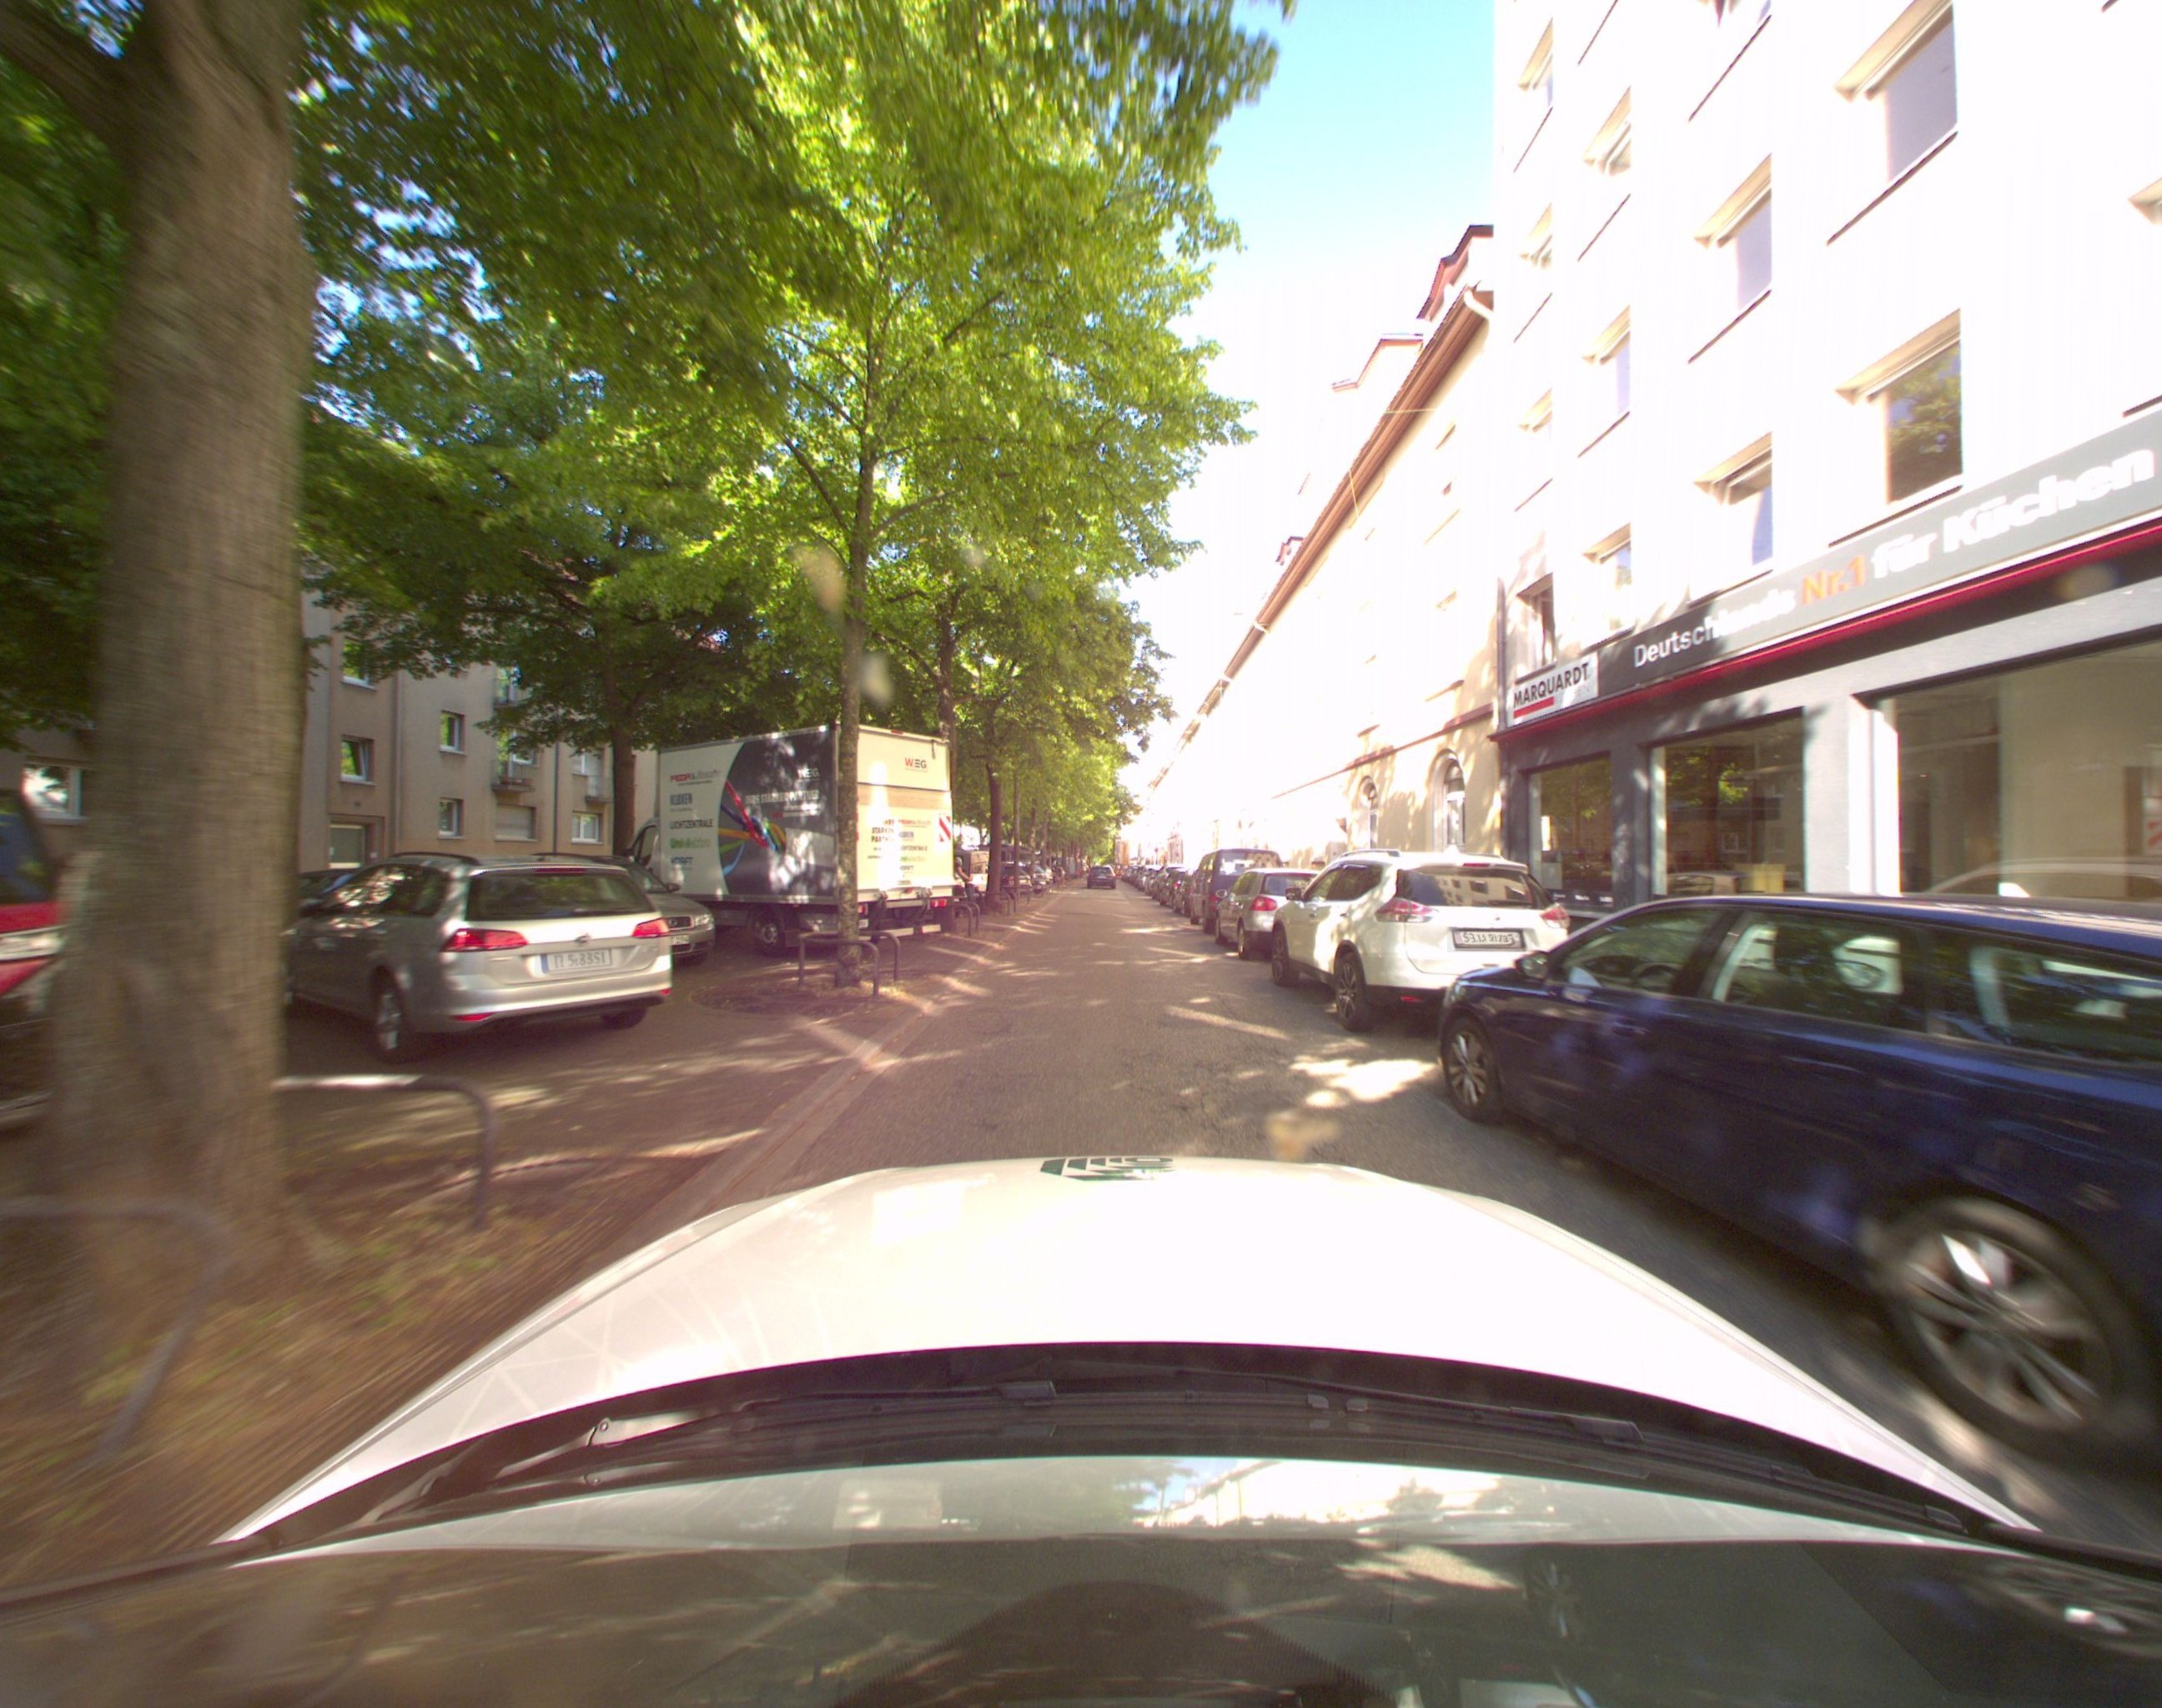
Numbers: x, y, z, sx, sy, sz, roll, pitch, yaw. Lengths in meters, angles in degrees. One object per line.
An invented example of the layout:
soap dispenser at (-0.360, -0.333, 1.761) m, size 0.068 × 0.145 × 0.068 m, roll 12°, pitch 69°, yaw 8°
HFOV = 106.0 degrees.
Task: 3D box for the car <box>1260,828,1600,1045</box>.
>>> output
car at (3.342, 0.697, 8.882) m, size 1.756 × 1.753 × 4.508 m, roll 1°, pitch -1°, yaw 0°

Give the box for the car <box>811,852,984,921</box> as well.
car at (-4.519, 0.738, 19.891) m, size 4.055 × 1.506 × 1.744 m, roll 0°, pitch -1°, yaw 32°

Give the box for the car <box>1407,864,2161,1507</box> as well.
car at (3.283, 0.784, 3.518) m, size 1.798 × 1.463 × 4.435 m, roll 1°, pitch -1°, yaw -3°

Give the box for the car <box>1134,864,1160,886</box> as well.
car at (4.762, 1.498, 59.232) m, size 1.625 × 1.534 × 3.591 m, roll 1°, pitch -1°, yaw 0°

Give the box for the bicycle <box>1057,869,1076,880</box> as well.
bicycle at (-1.367, 1.866, 75.890) m, size 1.729 × 1.006 × 0.507 m, roll 1°, pitch -1°, yaw -29°

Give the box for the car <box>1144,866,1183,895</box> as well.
car at (4.283, 1.374, 42.895) m, size 1.716 × 1.432 × 4.158 m, roll 1°, pitch -1°, yaw 1°

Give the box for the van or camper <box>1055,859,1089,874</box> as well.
van or camper at (-1.534, 2.127, 138.621) m, size 5.281 × 2.475 × 2.308 m, roll 0°, pitch -1°, yaw 33°

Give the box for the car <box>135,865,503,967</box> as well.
car at (-11.552, 0.845, 12.885) m, size 1.759 × 1.294 × 4.410 m, roll -1°, pitch -1°, yaw -2°

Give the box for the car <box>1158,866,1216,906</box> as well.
car at (3.906, 1.141, 30.559) m, size 1.545 × 1.394 × 3.857 m, roll 1°, pitch -1°, yaw -2°

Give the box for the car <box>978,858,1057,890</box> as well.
car at (-3.551, 1.084, 45.290) m, size 4.094 × 1.679 × 1.770 m, roll 0°, pitch -1°, yaw 30°

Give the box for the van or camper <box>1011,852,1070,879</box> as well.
van or camper at (-4.213, 1.169, 83.870) m, size 5.811 × 2.637 × 2.269 m, roll 0°, pitch -1°, yaw 30°

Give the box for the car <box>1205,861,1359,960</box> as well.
car at (3.387, 0.890, 14.546) m, size 1.756 × 1.500 × 4.238 m, roll 1°, pitch -1°, yaw 1°

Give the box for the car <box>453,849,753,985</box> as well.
car at (-6.519, 0.704, 10.962) m, size 4.287 × 1.507 × 1.825 m, roll 0°, pitch -1°, yaw 35°

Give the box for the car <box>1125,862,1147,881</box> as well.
car at (5.022, 1.589, 74.499) m, size 1.810 × 1.674 × 4.674 m, roll 0°, pitch -1°, yaw 1°

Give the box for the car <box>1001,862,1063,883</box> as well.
car at (-3.637, 1.338, 60.055) m, size 4.275 × 1.424 × 1.685 m, roll 0°, pitch -1°, yaw 28°

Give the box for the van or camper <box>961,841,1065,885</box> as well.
van or camper at (-4.845, 0.648, 57.455) m, size 7.158 × 2.930 × 2.328 m, roll 0°, pitch -1°, yaw 28°

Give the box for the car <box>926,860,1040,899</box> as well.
car at (-4.016, 0.989, 33.044) m, size 4.432 × 1.455 × 1.799 m, roll 0°, pitch -1°, yaw 33°

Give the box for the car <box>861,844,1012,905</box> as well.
car at (-4.749, 0.633, 26.714) m, size 4.467 × 1.865 × 2.093 m, roll 1°, pitch -1°, yaw 26°

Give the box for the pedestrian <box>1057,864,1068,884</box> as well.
pedestrian at (-1.357, 1.434, 59.208) m, size 0.609 × 1.456 × 0.522 m, roll 0°, pitch -1°, yaw 24°

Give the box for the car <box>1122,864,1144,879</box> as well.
car at (5.290, 1.773, 83.675) m, size 1.987 × 1.409 × 4.500 m, roll 1°, pitch -1°, yaw 0°

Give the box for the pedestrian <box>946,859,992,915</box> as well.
pedestrian at (-2.891, 0.842, 21.146) m, size 0.743 × 1.397 × 0.934 m, roll 0°, pitch -1°, yaw 33°

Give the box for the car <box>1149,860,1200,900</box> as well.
car at (4.167, 1.119, 36.781) m, size 1.717 × 1.686 × 4.155 m, roll 1°, pitch -1°, yaw -1°

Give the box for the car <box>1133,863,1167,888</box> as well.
car at (4.528, 1.410, 53.993) m, size 1.718 × 1.597 × 4.154 m, roll 1°, pitch -1°, yaw -2°

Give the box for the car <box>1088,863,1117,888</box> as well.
car at (1.327, 1.324, 51.615) m, size 1.791 × 1.504 × 3.585 m, roll 0°, pitch -1°, yaw 0°

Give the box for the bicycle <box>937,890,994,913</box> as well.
bicycle at (-3.070, 1.256, 21.591) m, size 1.593 × 0.558 × 0.412 m, roll 0°, pitch -1°, yaw 32°

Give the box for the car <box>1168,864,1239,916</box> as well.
car at (3.759, 1.061, 25.526) m, size 1.617 × 1.498 × 3.593 m, roll 1°, pitch -1°, yaw -1°

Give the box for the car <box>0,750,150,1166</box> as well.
car at (-7.008, 0.455, 4.488) m, size 4.445 × 1.873 × 1.948 m, roll 0°, pitch -1°, yaw 35°

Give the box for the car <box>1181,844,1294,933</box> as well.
car at (3.652, 0.769, 19.874) m, size 1.941 × 1.901 × 4.847 m, roll 0°, pitch -1°, yaw 2°

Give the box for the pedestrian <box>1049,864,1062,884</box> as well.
pedestrian at (-1.820, 1.441, 58.679) m, size 0.703 × 1.456 × 0.599 m, roll 0°, pitch -1°, yaw 24°

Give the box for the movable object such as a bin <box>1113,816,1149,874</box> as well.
movable object such as a bin at (6.013, -1.069, 97.696) m, size 3.445 × 6.760 × 2.383 m, roll 0°, pitch -2°, yaw 33°

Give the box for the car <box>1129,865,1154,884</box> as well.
car at (4.746, 1.609, 63.928) m, size 1.625 × 1.413 × 4.087 m, roll 1°, pitch -1°, yaw 0°

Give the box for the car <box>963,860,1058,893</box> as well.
car at (-3.376, 1.043, 38.775) m, size 4.367 × 1.462 × 1.727 m, roll 0°, pitch -2°, yaw 33°

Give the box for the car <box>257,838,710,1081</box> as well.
car at (-5.283, 0.663, 7.023) m, size 4.287 × 1.507 × 1.825 m, roll 0°, pitch -1°, yaw 35°

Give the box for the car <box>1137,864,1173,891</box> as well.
car at (4.346, 1.365, 48.553) m, size 1.717 × 1.528 × 4.156 m, roll 1°, pitch -1°, yaw -1°

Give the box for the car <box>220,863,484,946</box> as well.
car at (-14.643, 0.920, 16.765) m, size 1.761 × 1.435 × 4.335 m, roll -1°, pitch -1°, yaw -5°

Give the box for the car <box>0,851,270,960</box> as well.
car at (-15.101, 0.684, 12.038) m, size 1.757 × 1.435 × 4.345 m, roll 1°, pitch -1°, yaw 2°

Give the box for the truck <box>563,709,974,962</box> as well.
truck at (-5.424, -0.214, 13.592) m, size 7.231 × 3.294 × 2.563 m, roll 0°, pitch -1°, yaw 32°

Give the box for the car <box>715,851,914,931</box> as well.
car at (-5.663, 0.713, 17.203) m, size 3.948 × 1.503 × 1.860 m, roll 0°, pitch -1°, yaw 32°

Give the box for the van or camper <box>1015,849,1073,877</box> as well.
van or camper at (-4.461, 1.074, 96.986) m, size 6.593 × 3.241 × 2.511 m, roll 0°, pitch -1°, yaw 29°

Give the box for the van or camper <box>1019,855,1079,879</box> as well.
van or camper at (-3.149, 1.277, 79.605) m, size 5.448 × 2.275 × 2.233 m, roll 0°, pitch -1°, yaw 25°
